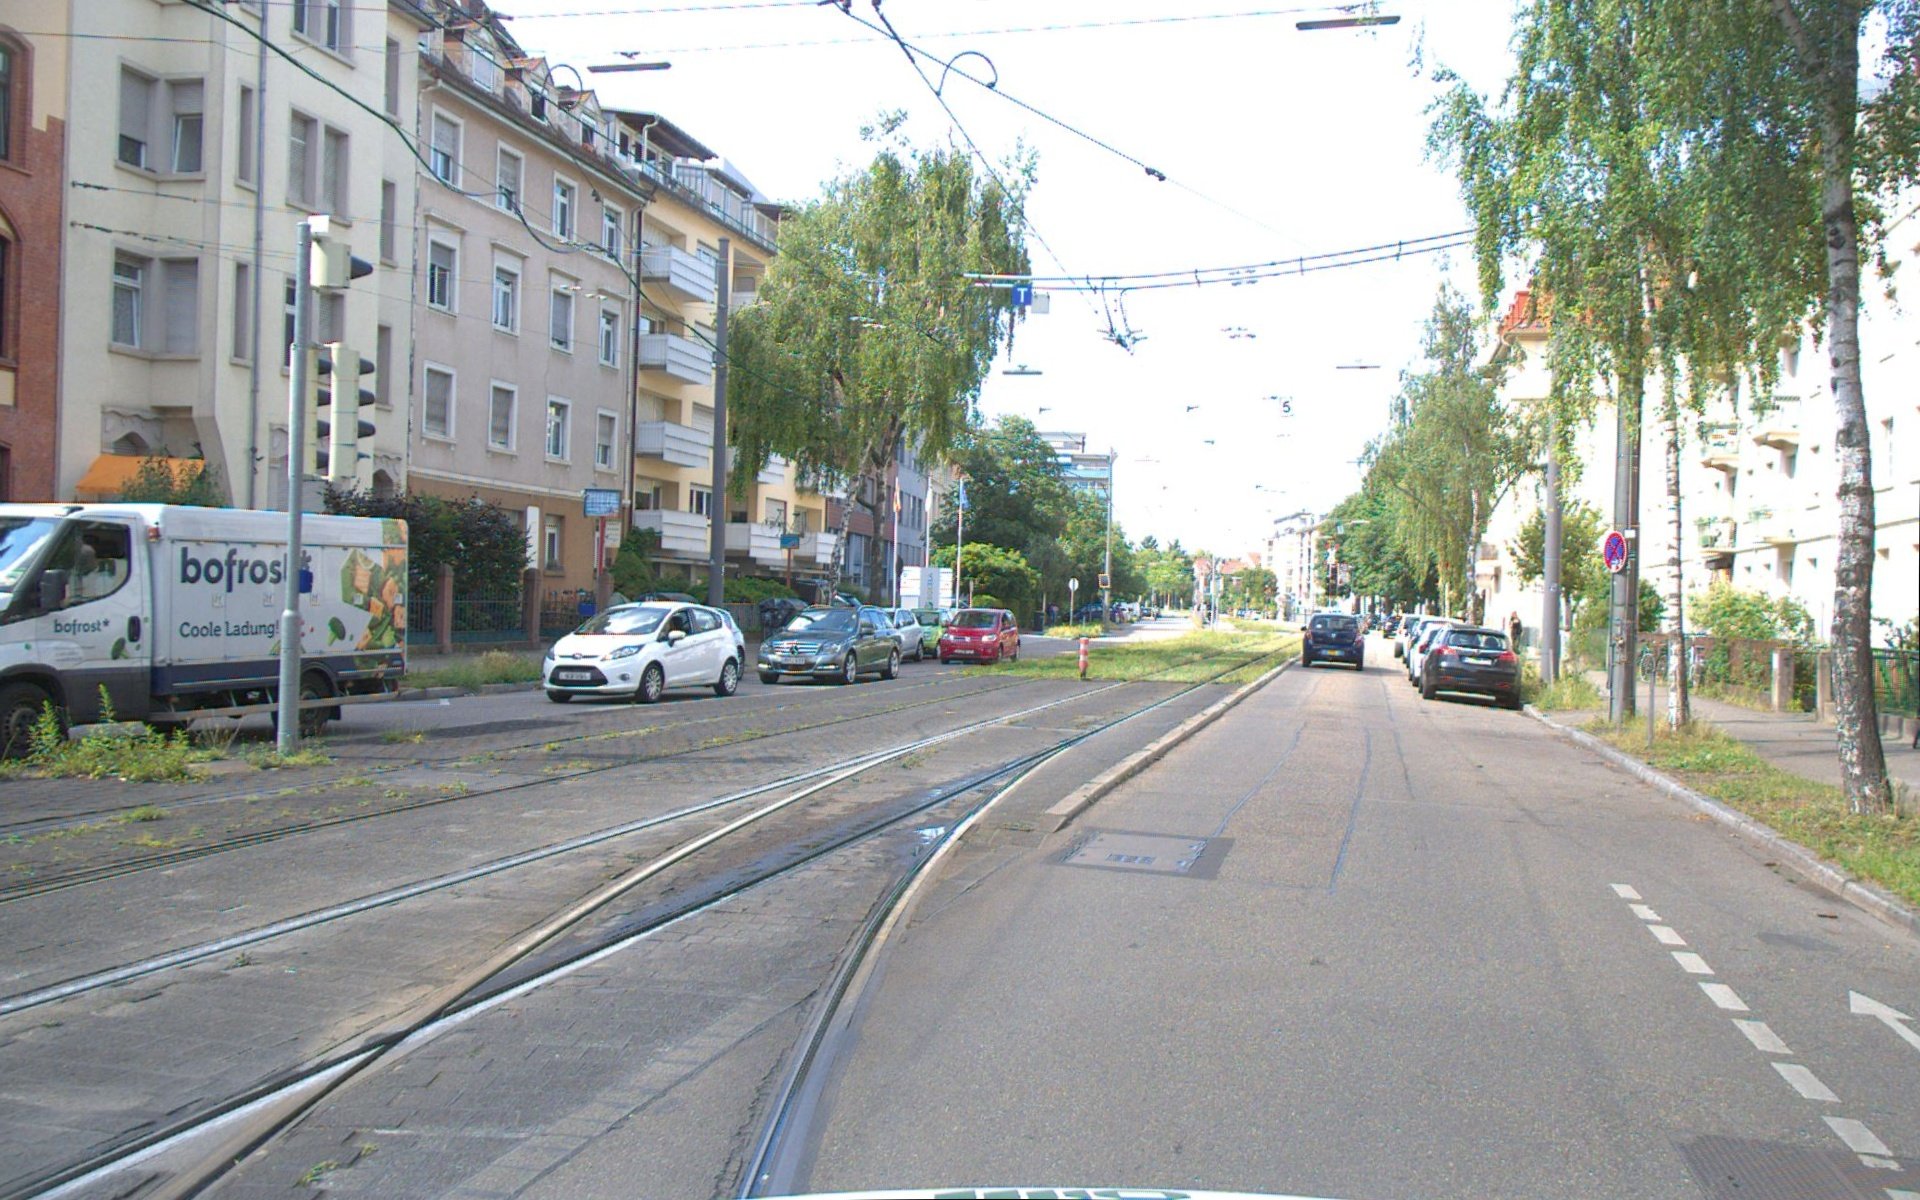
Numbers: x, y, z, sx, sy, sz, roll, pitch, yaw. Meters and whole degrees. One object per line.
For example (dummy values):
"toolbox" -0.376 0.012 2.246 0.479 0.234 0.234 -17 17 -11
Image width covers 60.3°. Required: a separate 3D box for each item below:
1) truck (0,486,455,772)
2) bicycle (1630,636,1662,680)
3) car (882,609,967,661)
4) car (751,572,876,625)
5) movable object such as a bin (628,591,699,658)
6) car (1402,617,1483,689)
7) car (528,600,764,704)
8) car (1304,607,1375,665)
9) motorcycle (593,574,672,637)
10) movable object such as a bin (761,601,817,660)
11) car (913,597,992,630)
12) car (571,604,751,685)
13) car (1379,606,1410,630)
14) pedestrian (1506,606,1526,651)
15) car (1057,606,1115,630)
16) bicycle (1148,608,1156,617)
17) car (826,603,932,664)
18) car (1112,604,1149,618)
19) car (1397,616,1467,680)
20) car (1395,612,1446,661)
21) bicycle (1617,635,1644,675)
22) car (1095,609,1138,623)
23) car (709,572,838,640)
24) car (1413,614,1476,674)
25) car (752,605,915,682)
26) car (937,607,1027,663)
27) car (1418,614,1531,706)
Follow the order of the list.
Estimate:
"truck" -7.756 0.238 15.796 2.139 2.253 6.614 1 0 18
"bicycle" 16.286 1.367 39.278 0.369 0.960 2.010 2 0 14
"car" -1.006 1.002 49.167 1.560 1.457 3.617 1 0 15
"car" -5.211 -0.045 59.010 3.903 1.630 1.974 4 0 15
"movable object such as a bin" -6.770 0.546 37.830 0.931 1.390 1.523 7 1 14
"car" 11.509 1.233 39.655 1.586 1.477 3.921 5 1 14
"car" -4.622 0.750 24.982 1.718 1.439 4.135 0 -1 18
"car" 10.810 0.993 46.943 1.731 1.487 3.778 3 0 15
"motorcycle" -6.913 0.114 34.997 0.881 1.264 2.296 2 0 8
"movable object such as a bin" -4.540 0.802 44.018 0.931 1.454 1.523 4 0 14
"car" -0.397 0.733 90.365 3.902 1.624 2.002 2 0 11
"car" -5.501 0.796 30.954 1.718 1.380 3.997 1 0 16
"car" 27.780 1.152 105.802 1.664 1.391 3.517 3 0 12
"pedestrian" 21.424 1.097 63.730 0.714 1.712 0.691 -1 -1 18
"car" 9.383 1.322 123.394 4.077 1.669 1.708 2 0 -31
"bicycle" 22.613 1.471 194.654 0.666 0.988 2.180 1 0 12
"car" -2.106 0.869 44.246 1.609 1.503 4.228 1 0 15
"car" 19.920 1.277 192.992 3.938 1.472 1.714 2 0 -26
"car" 12.675 1.255 44.539 1.556 1.477 3.847 5 1 14
"car" 17.270 1.355 61.916 1.685 1.657 4.002 4 0 17
"bicycle" 16.689 1.357 41.192 0.379 0.955 1.587 2 0 14
"car" 15.420 1.575 162.857 3.949 1.391 1.697 1 0 -33
"car" -6.437 0.211 57.147 3.904 2.048 1.938 4 0 18
"car" 14.330 1.276 49.002 1.462 1.606 3.762 4 0 13
"car" -2.360 0.819 32.101 1.718 1.380 4.515 0 -1 16
"car" 0.629 0.912 44.483 1.545 1.411 3.695 1 0 15
"car" 10.180 1.127 32.977 1.754 1.547 4.530 4 1 14
